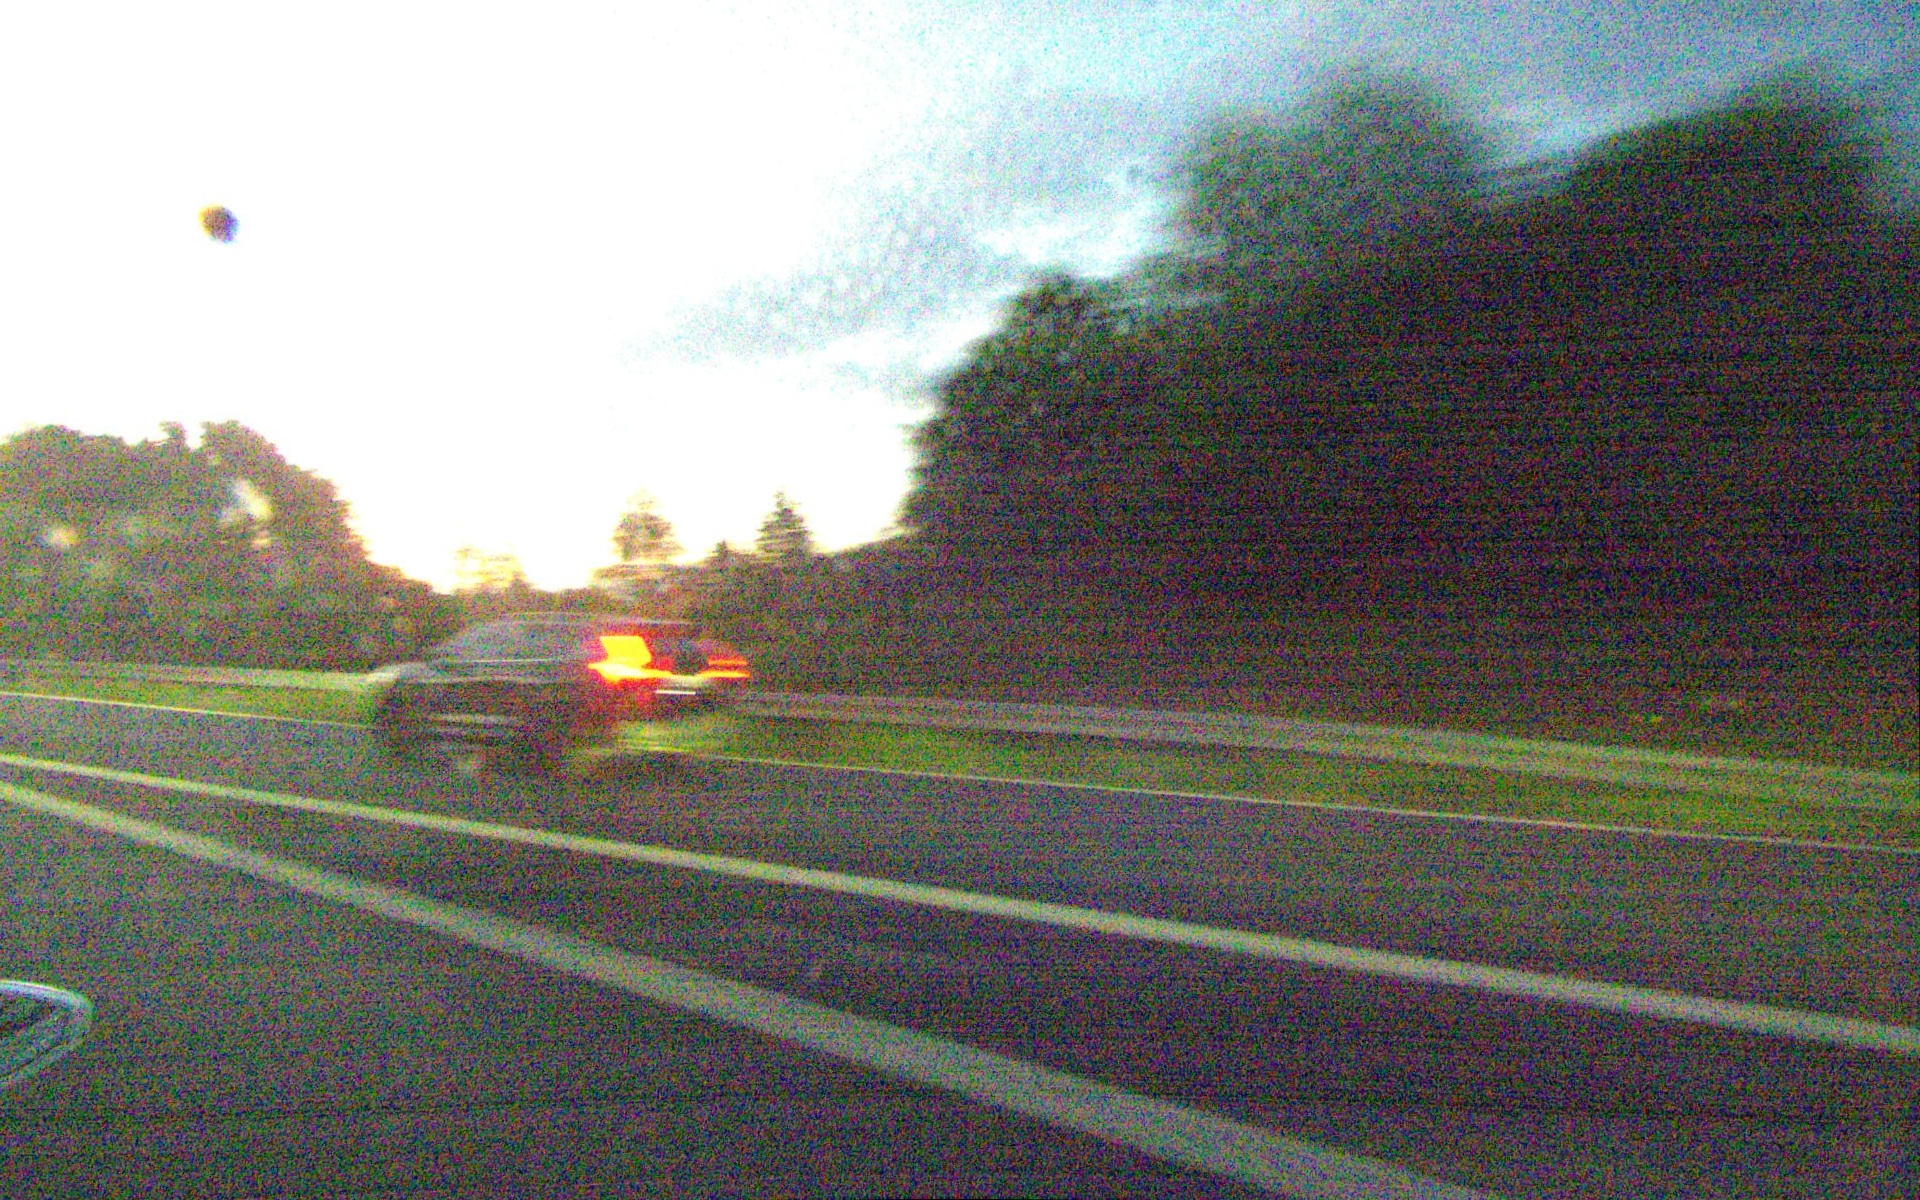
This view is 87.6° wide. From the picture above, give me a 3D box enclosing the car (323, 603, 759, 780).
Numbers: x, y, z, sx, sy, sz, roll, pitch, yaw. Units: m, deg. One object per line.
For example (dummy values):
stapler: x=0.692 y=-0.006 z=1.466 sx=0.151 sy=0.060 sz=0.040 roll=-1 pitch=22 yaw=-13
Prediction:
car: x=-4.889 y=0.987 z=11.464 sx=5.082 sy=1.664 sz=1.799 roll=-1 pitch=-6 yaw=30
